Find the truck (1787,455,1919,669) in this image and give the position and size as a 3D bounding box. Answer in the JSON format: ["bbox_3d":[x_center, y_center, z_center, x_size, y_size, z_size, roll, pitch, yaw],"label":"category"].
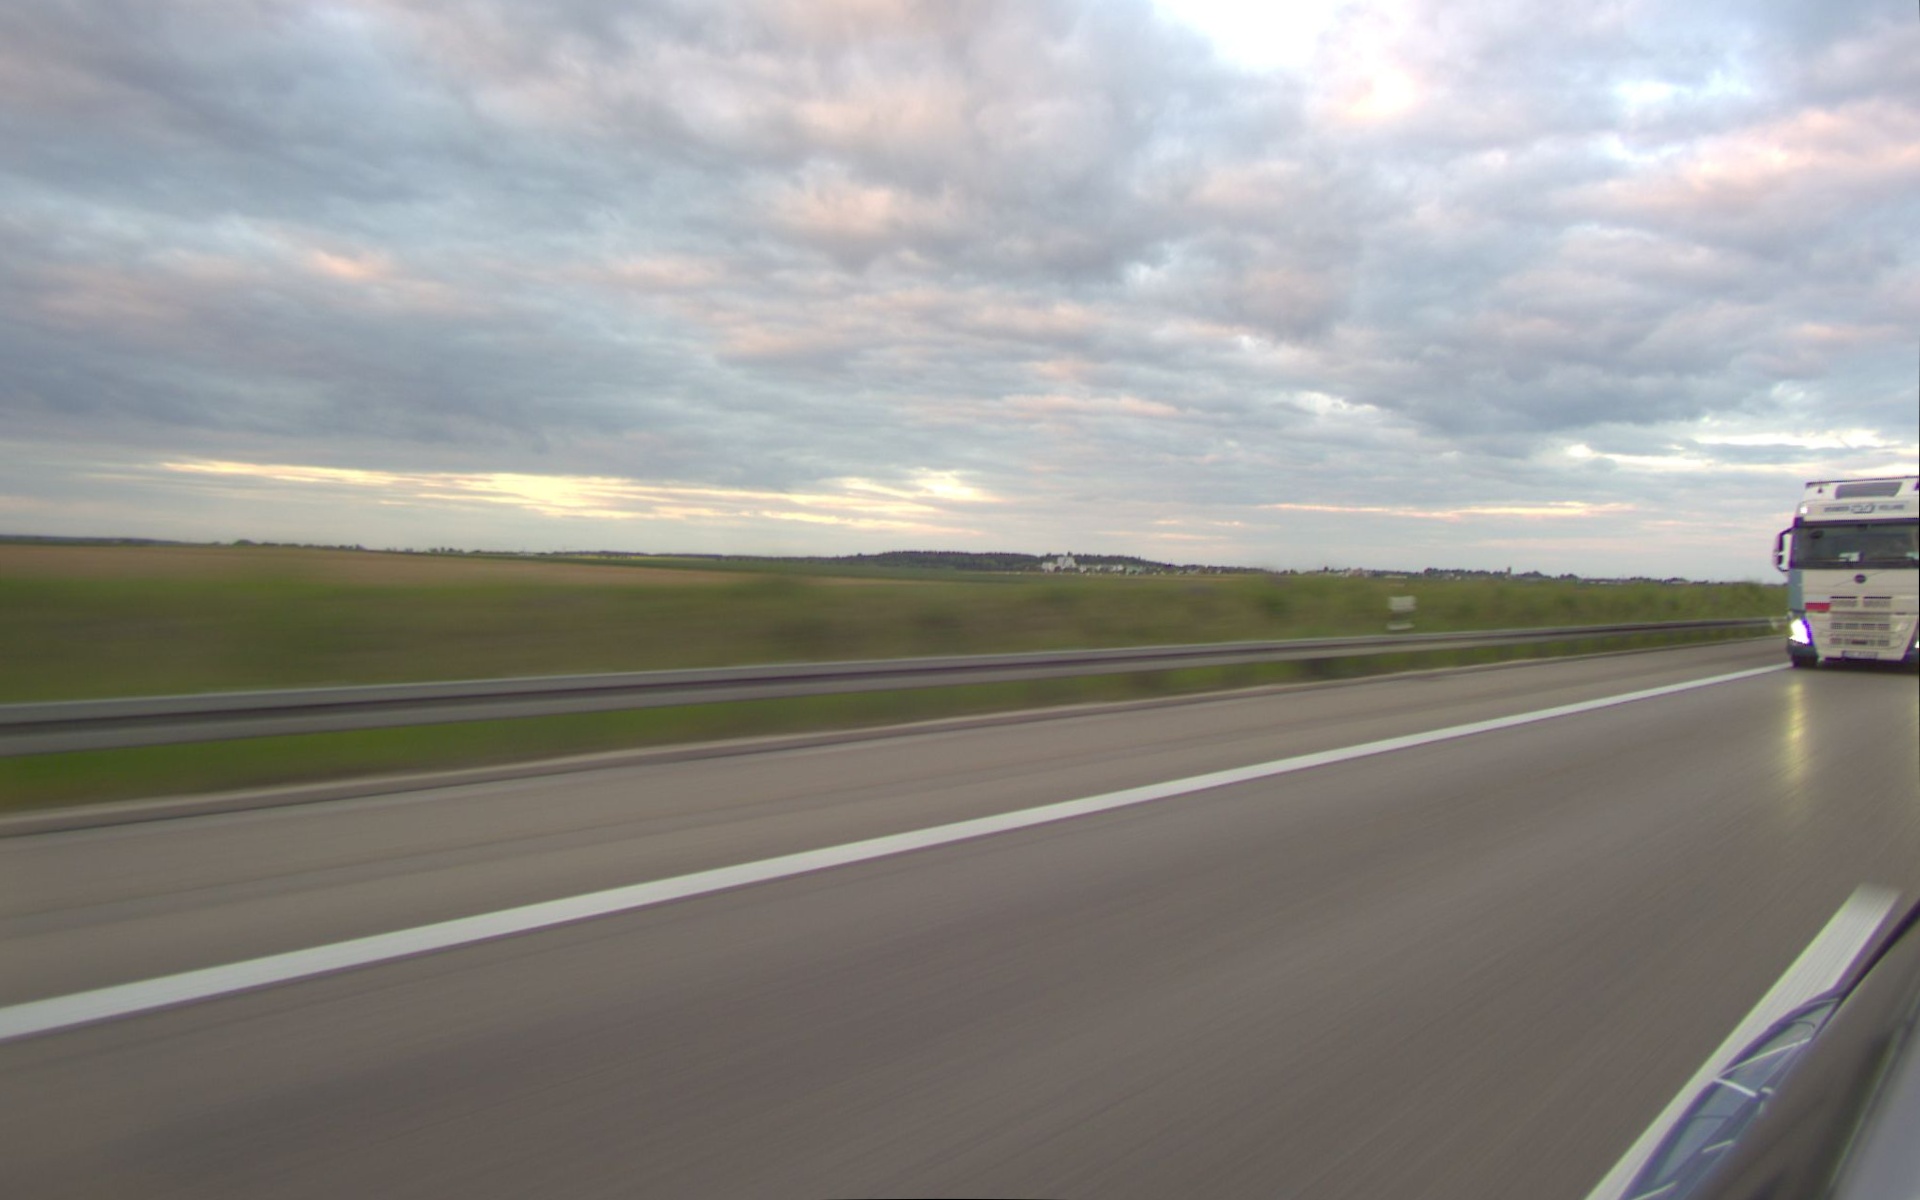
[{"bbox_3d":[20.083,-0.745,21.646,5.754,4.073,2.596,0,1,-40],"label":"truck"}]

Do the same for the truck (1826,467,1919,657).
[{"bbox_3d":[25.366,-0.825,26.061,12.754,4.073,2.596,0,1,-40],"label":"truck"}]
